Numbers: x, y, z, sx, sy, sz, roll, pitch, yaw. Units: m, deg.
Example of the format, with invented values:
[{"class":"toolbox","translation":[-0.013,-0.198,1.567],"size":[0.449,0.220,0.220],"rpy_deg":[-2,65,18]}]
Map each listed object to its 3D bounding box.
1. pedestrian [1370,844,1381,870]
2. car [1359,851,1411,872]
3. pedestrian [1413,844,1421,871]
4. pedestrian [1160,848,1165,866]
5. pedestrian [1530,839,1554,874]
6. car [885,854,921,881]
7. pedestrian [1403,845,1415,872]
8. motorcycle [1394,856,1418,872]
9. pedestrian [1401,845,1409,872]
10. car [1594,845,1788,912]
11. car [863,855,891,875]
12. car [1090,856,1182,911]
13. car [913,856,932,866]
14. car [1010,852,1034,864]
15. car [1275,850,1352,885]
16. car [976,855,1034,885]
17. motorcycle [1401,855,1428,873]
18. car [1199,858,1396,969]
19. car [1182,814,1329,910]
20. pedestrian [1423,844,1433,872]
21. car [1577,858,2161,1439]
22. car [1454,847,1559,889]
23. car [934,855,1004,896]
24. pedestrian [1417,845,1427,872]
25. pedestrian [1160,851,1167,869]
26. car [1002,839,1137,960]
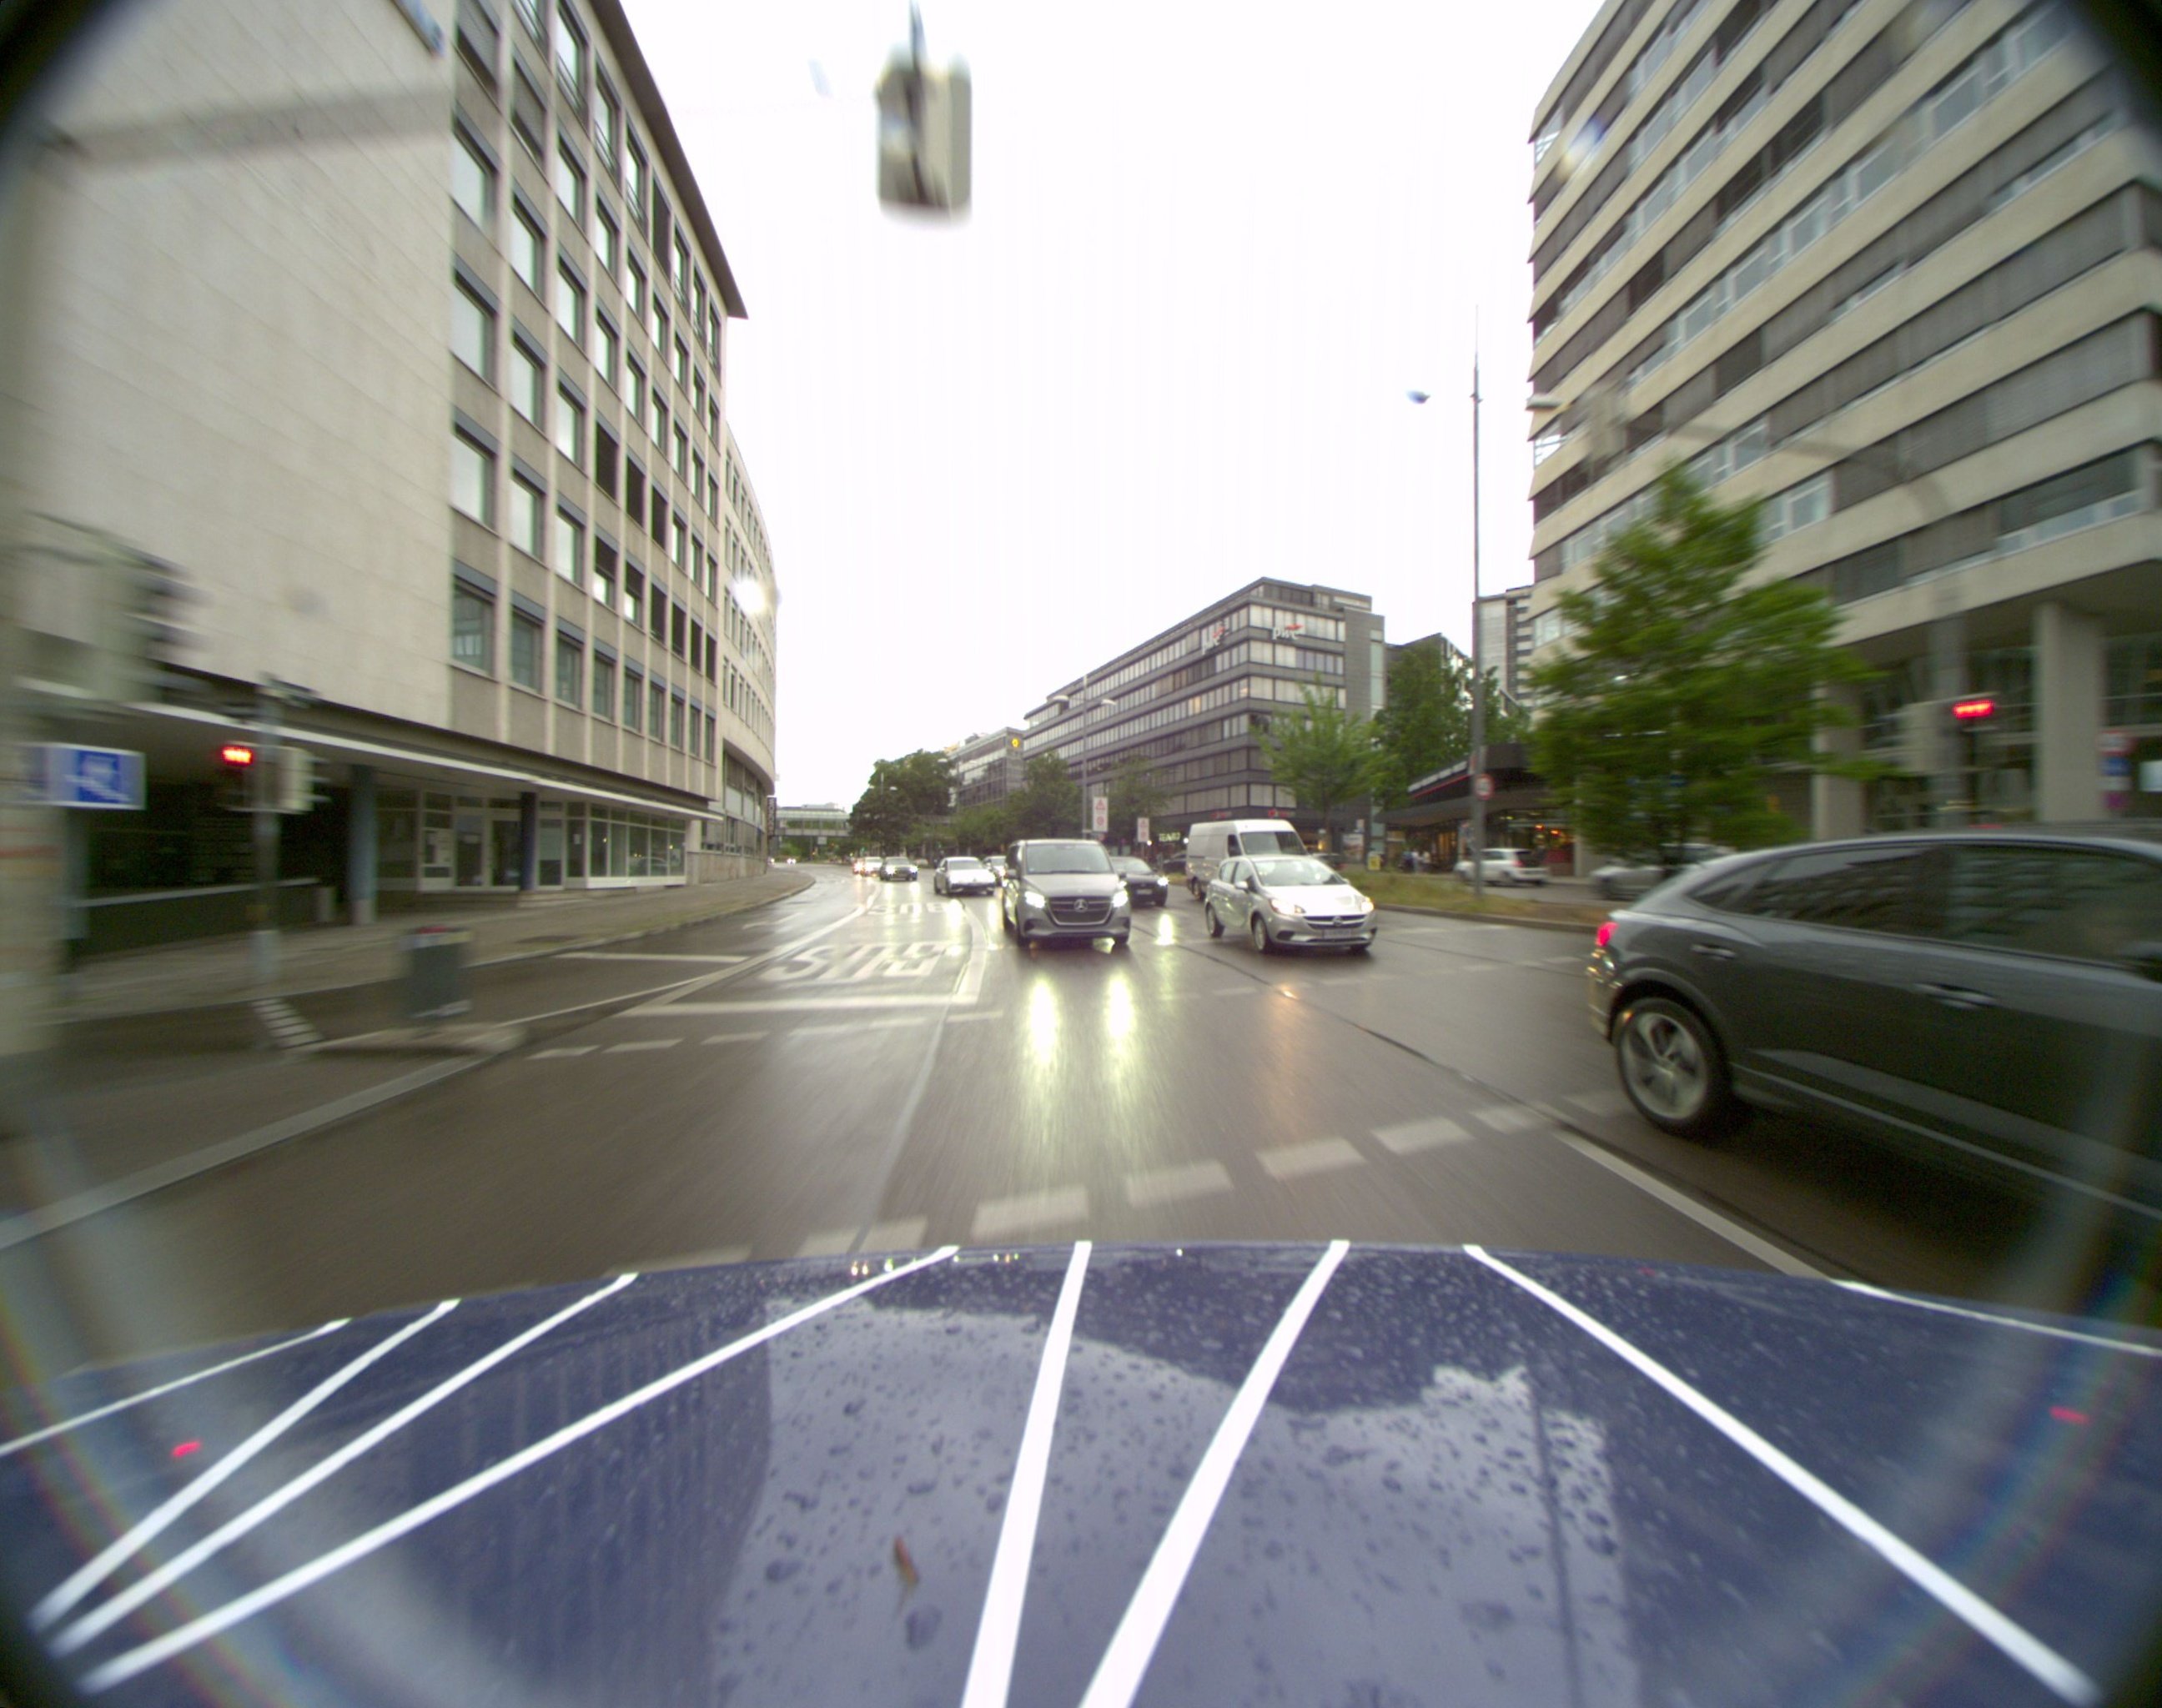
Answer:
[{"class":"pedestrian","translation":[20.016,0.202,51.655],"size":[0.536,1.761,0.550],"rpy_deg":[-1,1,-1]},{"class":"car","translation":[25.094,0.606,62.758],"size":[3.768,1.575,1.846],"rpy_deg":[-1,0,-23]},{"class":"pedestrian","translation":[22.234,0.246,50.298],"size":[0.328,1.761,0.358],"rpy_deg":[-1,1,-1]},{"class":"pedestrian","translation":[9.148,0.328,85.275],"size":[0.542,2.002,0.296],"rpy_deg":[-1,1,-25]},{"class":"pedestrian","translation":[21.942,0.111,36.157],"size":[0.680,1.674,0.761],"rpy_deg":[-1,1,-31]},{"class":"car","translation":[-11.098,0.785,47.220],"size":[2.001,1.456,4.397],"rpy_deg":[-1,1,-15]},{"class":"pedestrian","translation":[21.127,0.293,48.916],"size":[0.556,1.761,0.404],"rpy_deg":[-1,1,-1]},{"class":"motorcycle","translation":[24.000,0.740,56.105],"size":[1.622,1.138,0.360],"rpy_deg":[-1,1,21]},{"class":"pedestrian","translation":[21.237,0.274,49.853],"size":[0.328,1.761,0.437],"rpy_deg":[-1,1,-2]},{"class":"car","translation":[16.098,0.582,20.364],"size":[1.649,1.572,4.083],"rpy_deg":[-1,0,-6]},{"class":"car","translation":[-16.008,0.817,59.584],"size":[1.725,1.456,4.029],"rpy_deg":[-2,1,-21]},{"class":"car","translation":[1.537,0.800,22.796],"size":[1.777,1.427,4.090],"rpy_deg":[-1,0,-10]},{"class":"car","translation":[-23.523,1.030,112.723],"size":[1.754,1.365,3.991],"rpy_deg":[-1,1,-29]},{"class":"car","translation":[-8.122,0.533,103.906],"size":[2.002,1.498,3.992],"rpy_deg":[-1,0,-25]},{"class":"car","translation":[10.226,0.562,33.725],"size":[1.696,1.377,3.864],"rpy_deg":[-1,1,-10]},{"class":"car","translation":[-3.857,0.733,37.828],"size":[1.779,1.372,4.087],"rpy_deg":[-1,0,-22]},{"class":"motorcycle","translation":[23.266,0.716,53.021],"size":[1.665,1.226,0.360],"rpy_deg":[-1,1,30]},{"class":"car","translation":[3.280,0.822,12.344],"size":[1.653,1.427,3.872],"rpy_deg":[-1,0,-8]},{"class":"car","translation":[4.864,0.186,22.202],"size":[1.953,2.426,5.473],"rpy_deg":[-1,1,-13]},{"class":"pedestrian","translation":[22.423,0.266,49.066],"size":[0.428,1.761,0.470],"rpy_deg":[-1,1,-1]},{"class":"car","translation":[3.739,0.811,2.288],"size":[1.652,1.513,4.270],"rpy_deg":[-1,0,-1]},{"class":"car","translation":[17.483,0.523,31.385],"size":[1.644,1.562,3.713],"rpy_deg":[-1,1,-15]},{"class":"car","translation":[-4.497,0.807,30.011],"size":[1.933,1.471,3.993],"rpy_deg":[0,0,-20]},{"class":"pedestrian","translation":[21.888,0.280,48.820],"size":[0.428,1.761,0.470],"rpy_deg":[-1,1,-1]},{"class":"pedestrian","translation":[9.448,0.696,86.880],"size":[0.576,2.002,0.460],"rpy_deg":[-1,1,-25]},{"class":"car","translation":[-0.430,0.700,14.431],"size":[1.917,1.844,5.022],"rpy_deg":[-1,0,-8]}]
